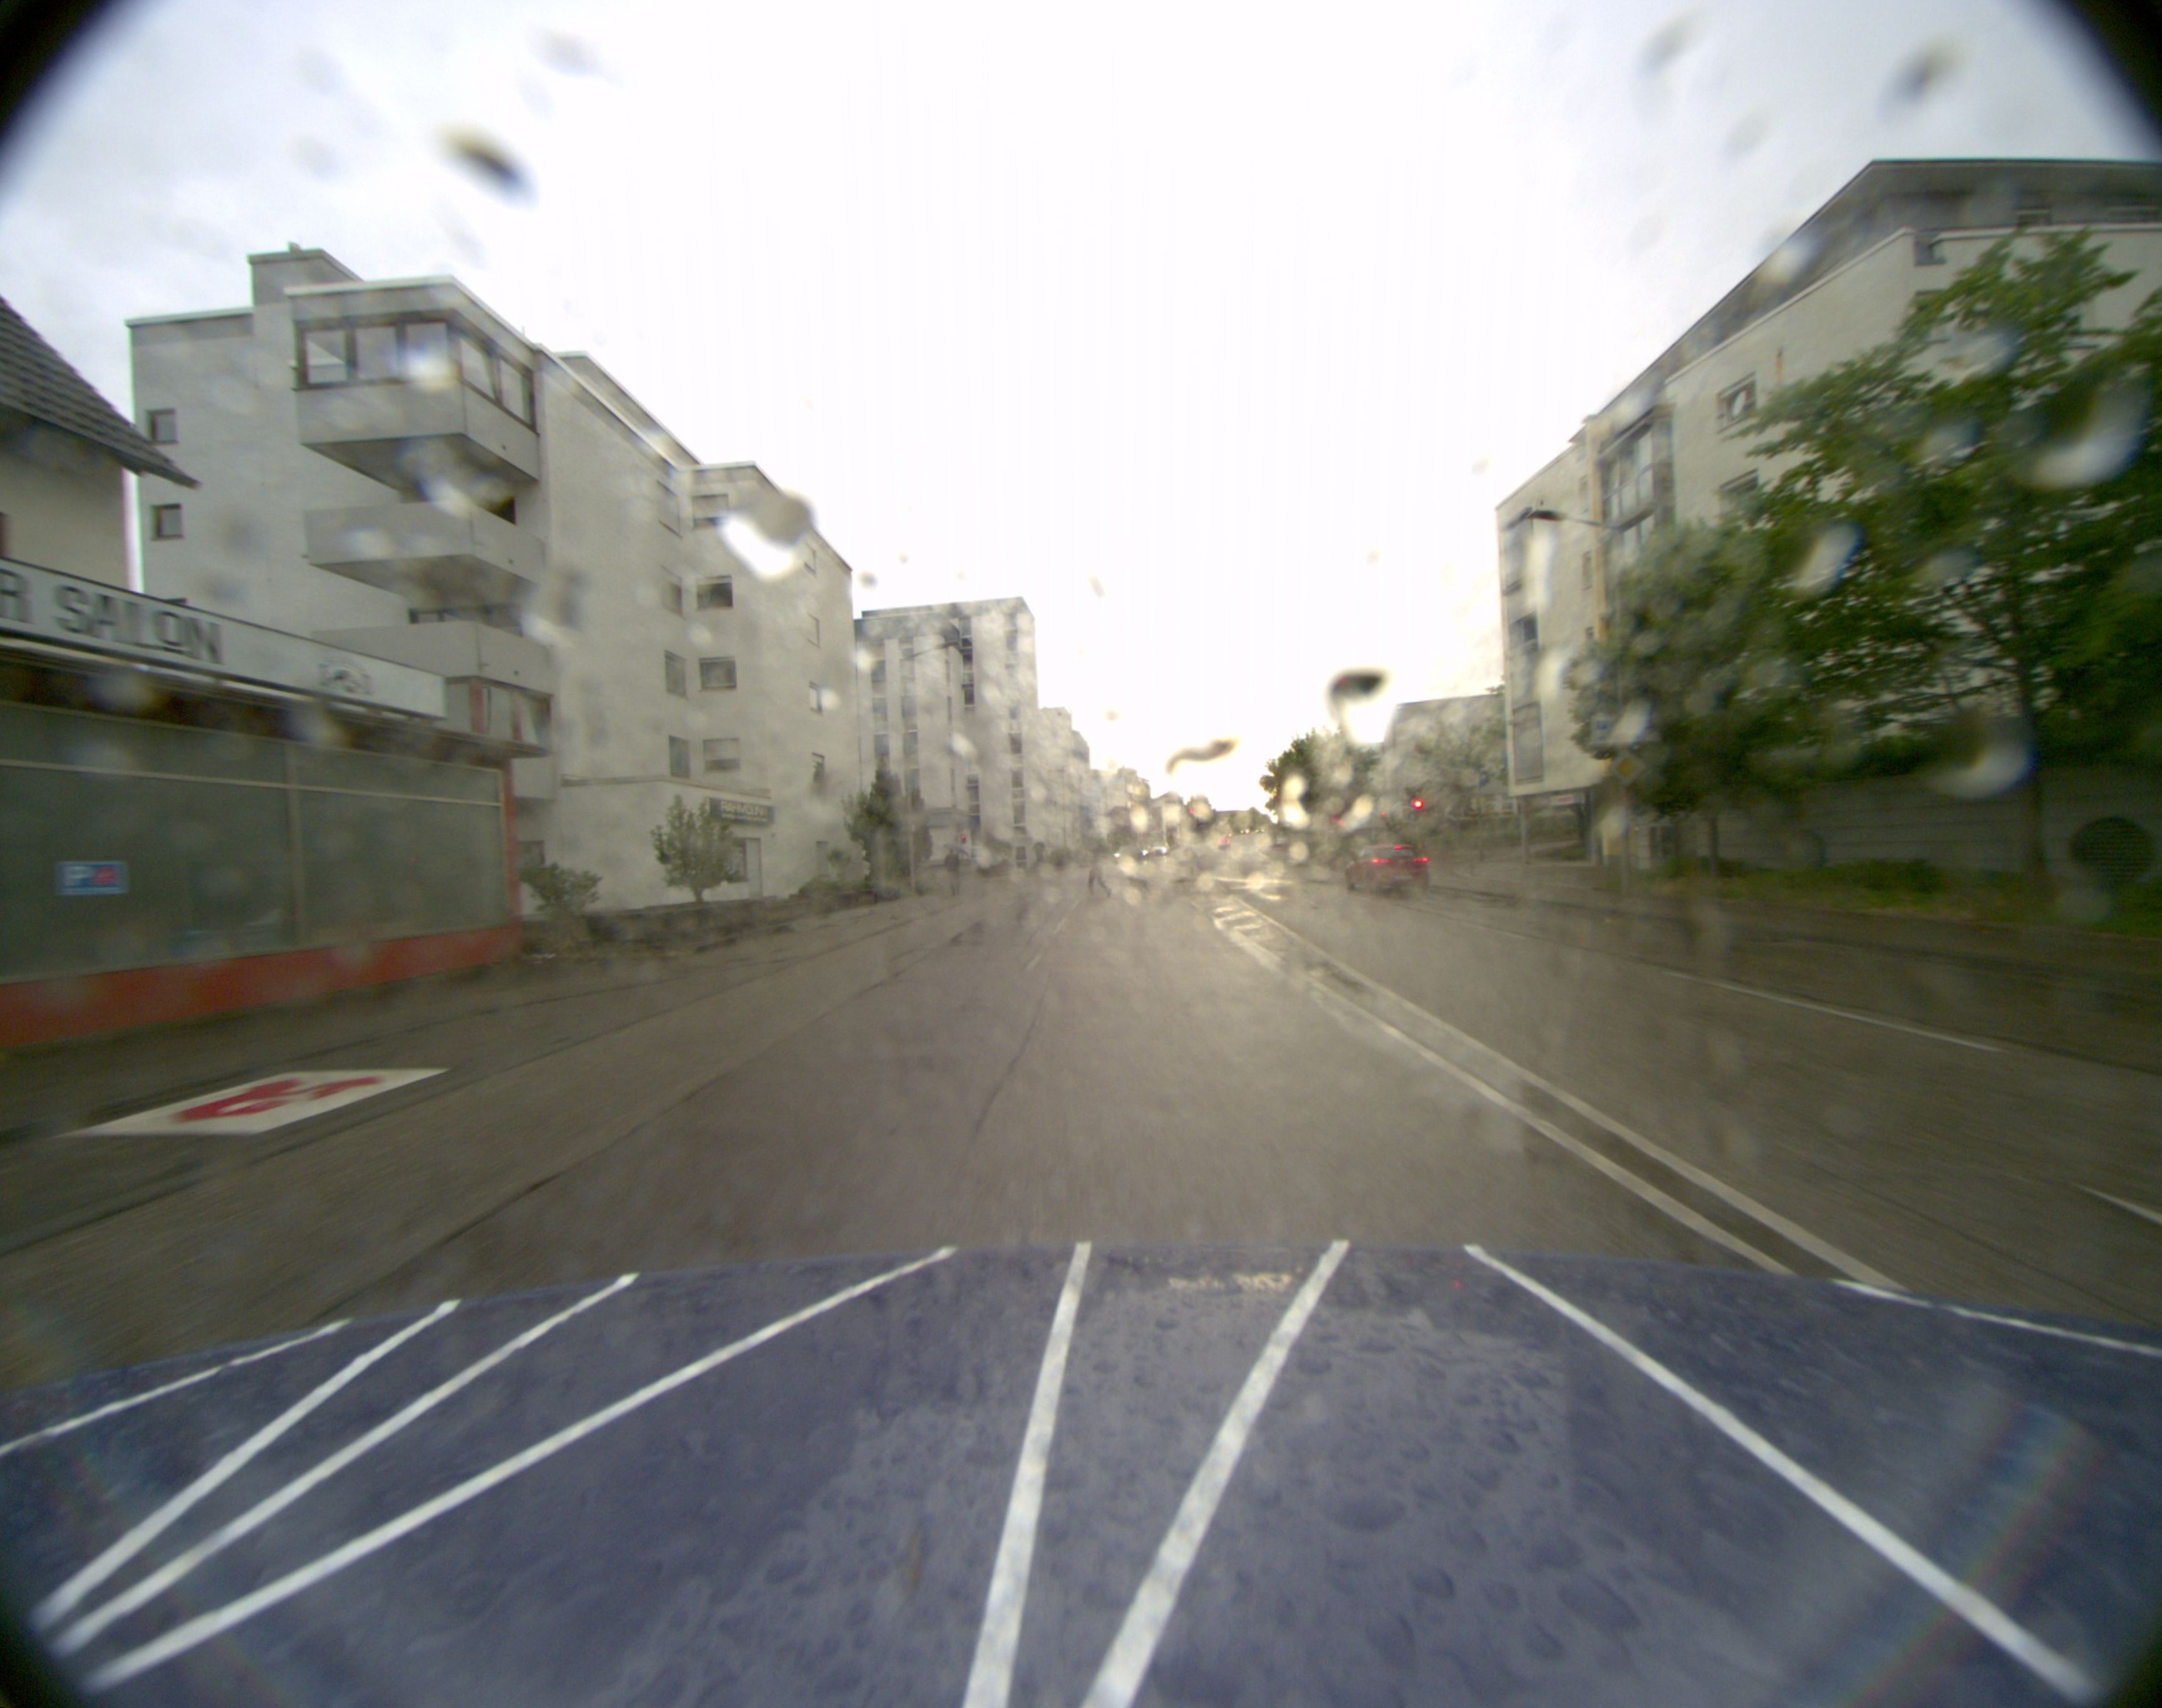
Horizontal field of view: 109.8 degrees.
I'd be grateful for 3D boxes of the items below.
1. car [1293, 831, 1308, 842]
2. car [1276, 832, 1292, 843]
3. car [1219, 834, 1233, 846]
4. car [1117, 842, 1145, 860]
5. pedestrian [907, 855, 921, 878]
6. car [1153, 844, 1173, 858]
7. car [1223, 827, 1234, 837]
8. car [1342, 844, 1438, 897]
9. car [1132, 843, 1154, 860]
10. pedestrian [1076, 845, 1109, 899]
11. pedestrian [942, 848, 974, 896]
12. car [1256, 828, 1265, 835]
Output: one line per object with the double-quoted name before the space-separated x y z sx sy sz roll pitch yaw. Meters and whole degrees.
"car" 31.112 -2.511 107.678 1.734 1.470 4.026 -3 1 20
"car" 28.891 -2.332 108.128 1.734 1.470 4.026 -3 1 20
"car" 21.215 -2.040 111.076 1.691 1.546 3.909 -5 1 13
"car" 4.559 -0.306 68.948 1.739 1.477 4.153 -3 1 14
"pedestrian" -12.141 0.911 55.267 0.645 1.642 0.656 -7 1 6
"car" 9.960 -0.401 92.207 1.897 1.535 4.024 -4 1 12
"car" 32.315 -4.880 166.286 1.997 2.002 4.003 -7 1 15
"car" 9.665 0.466 24.088 1.779 1.498 4.105 0 1 6
"car" 6.427 -0.280 78.095 1.752 1.470 4.002 -4 1 10
"pedestrian" 0.377 0.585 25.290 0.667 1.692 0.948 -3 1 24
"pedestrian" -4.305 0.617 26.730 0.754 1.559 0.993 -5 2 5
"car" 46.547 -5.866 197.005 1.827 1.677 4.004 -2 1 16
